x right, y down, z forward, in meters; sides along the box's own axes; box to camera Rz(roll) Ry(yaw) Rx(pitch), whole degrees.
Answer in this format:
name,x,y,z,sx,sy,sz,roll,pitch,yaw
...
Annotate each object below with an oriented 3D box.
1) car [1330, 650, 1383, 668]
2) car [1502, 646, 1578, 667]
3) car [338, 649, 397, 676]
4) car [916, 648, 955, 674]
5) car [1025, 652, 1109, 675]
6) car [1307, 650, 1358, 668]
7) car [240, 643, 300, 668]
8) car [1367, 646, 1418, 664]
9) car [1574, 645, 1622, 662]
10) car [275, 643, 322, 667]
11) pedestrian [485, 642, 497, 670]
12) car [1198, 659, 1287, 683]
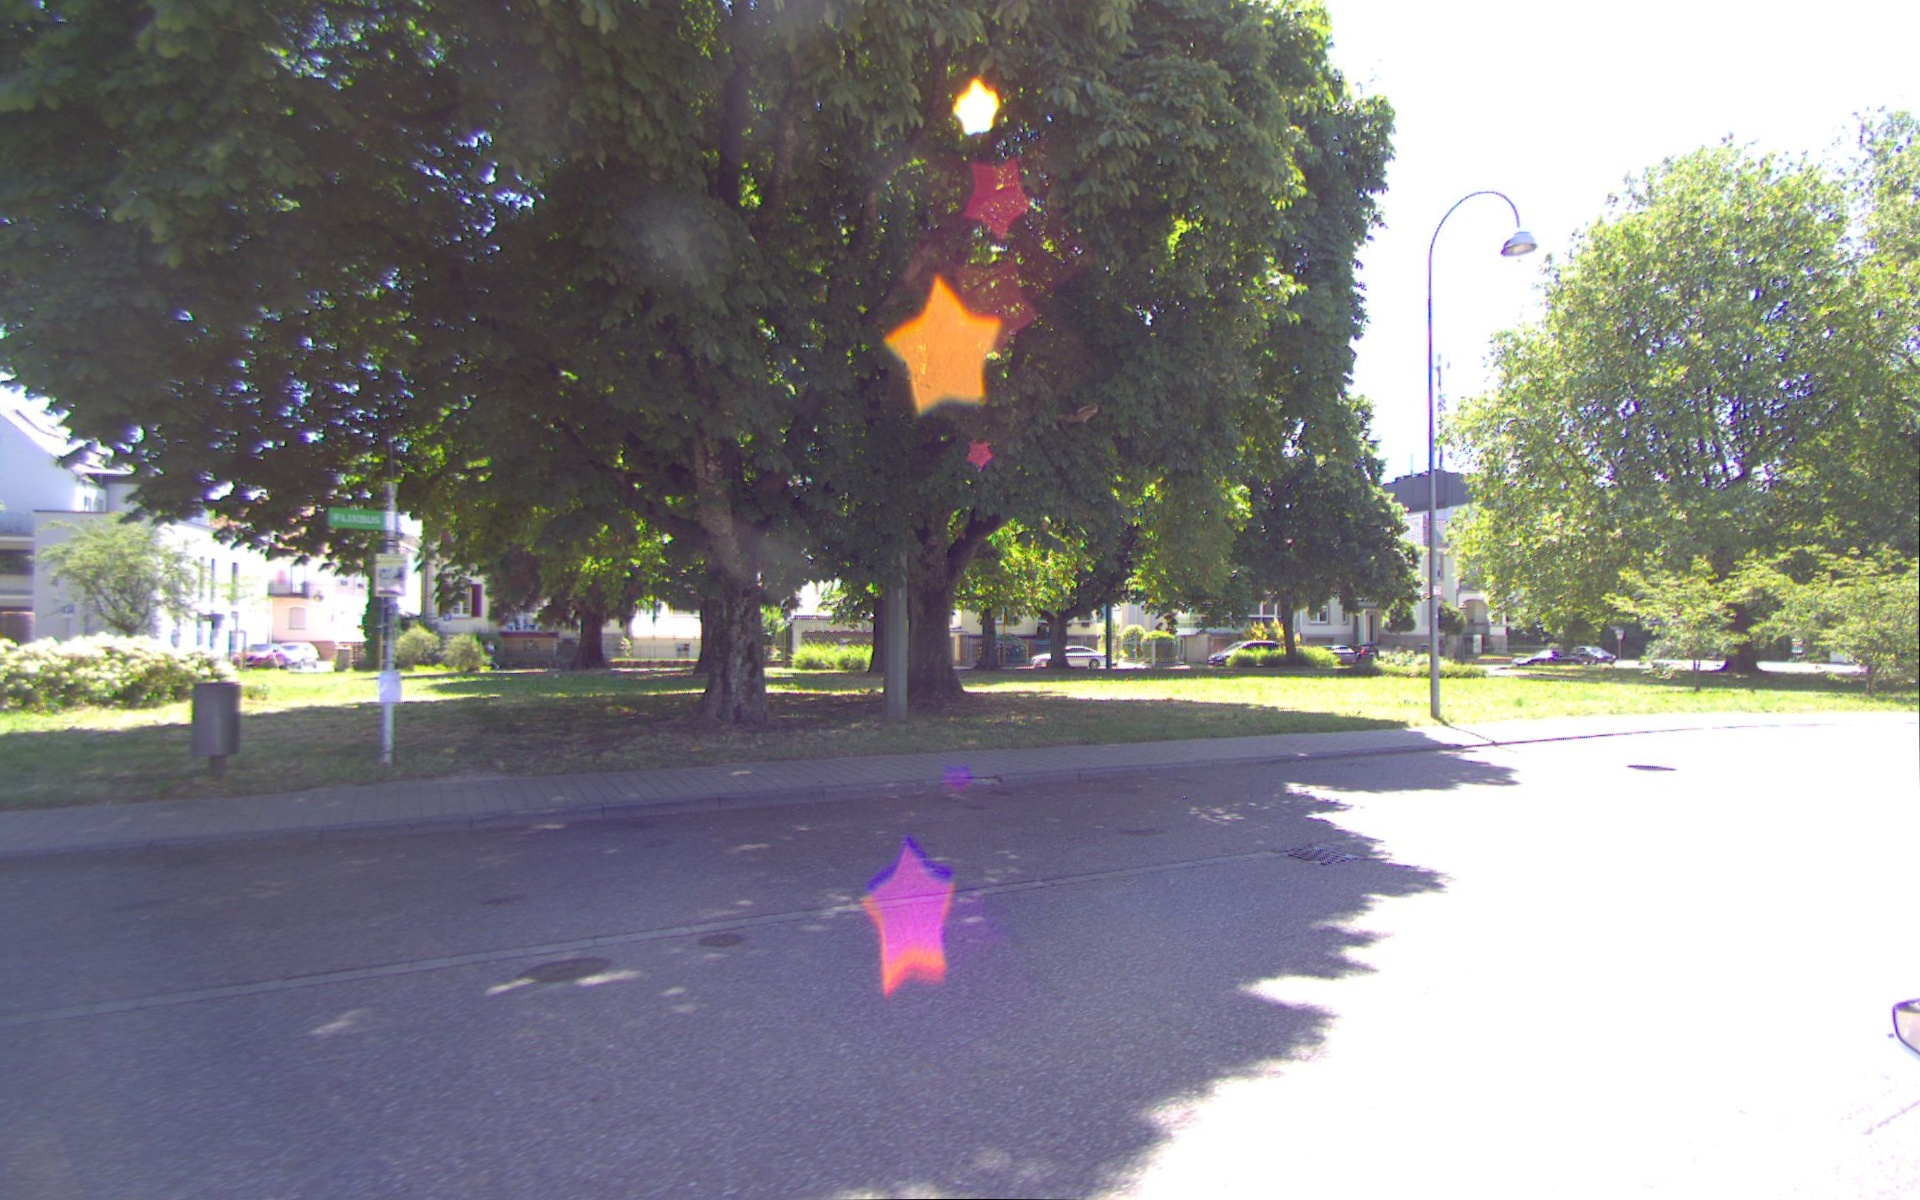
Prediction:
name,x,y,z,sx,sy,sz,roll,pitch,yaw
car,29.108,4.346,73.879,1.686,1.268,3.722,1,-2,-16
car,37.146,3.631,64.412,3.914,1.328,1.821,0,-2,-7
car,-32.495,3.413,55.213,1.610,1.367,4.036,1,-2,-13
car,-1.730,4.148,68.361,1.814,1.669,3.989,1,-2,-14
car,6.536,3.869,61.559,4.801,1.367,1.989,1,-2,-13
car,26.603,4.221,71.868,1.536,1.200,3.559,1,-2,-18
car,-38.721,3.097,56.468,1.612,1.367,4.032,1,-2,-17
car,31.724,4.027,73.778,1.454,1.200,3.559,1,-2,-18
car,51.053,4.281,80.466,1.609,1.328,4.201,0,-2,8
car,-40.106,3.331,60.974,1.404,1.367,3.359,1,-2,-17
pedestrian,-25.480,3.065,54.543,0.476,1.510,0.389,1,-2,-14
car,16.913,4.214,60.163,4.801,1.367,1.989,1,-2,-13
